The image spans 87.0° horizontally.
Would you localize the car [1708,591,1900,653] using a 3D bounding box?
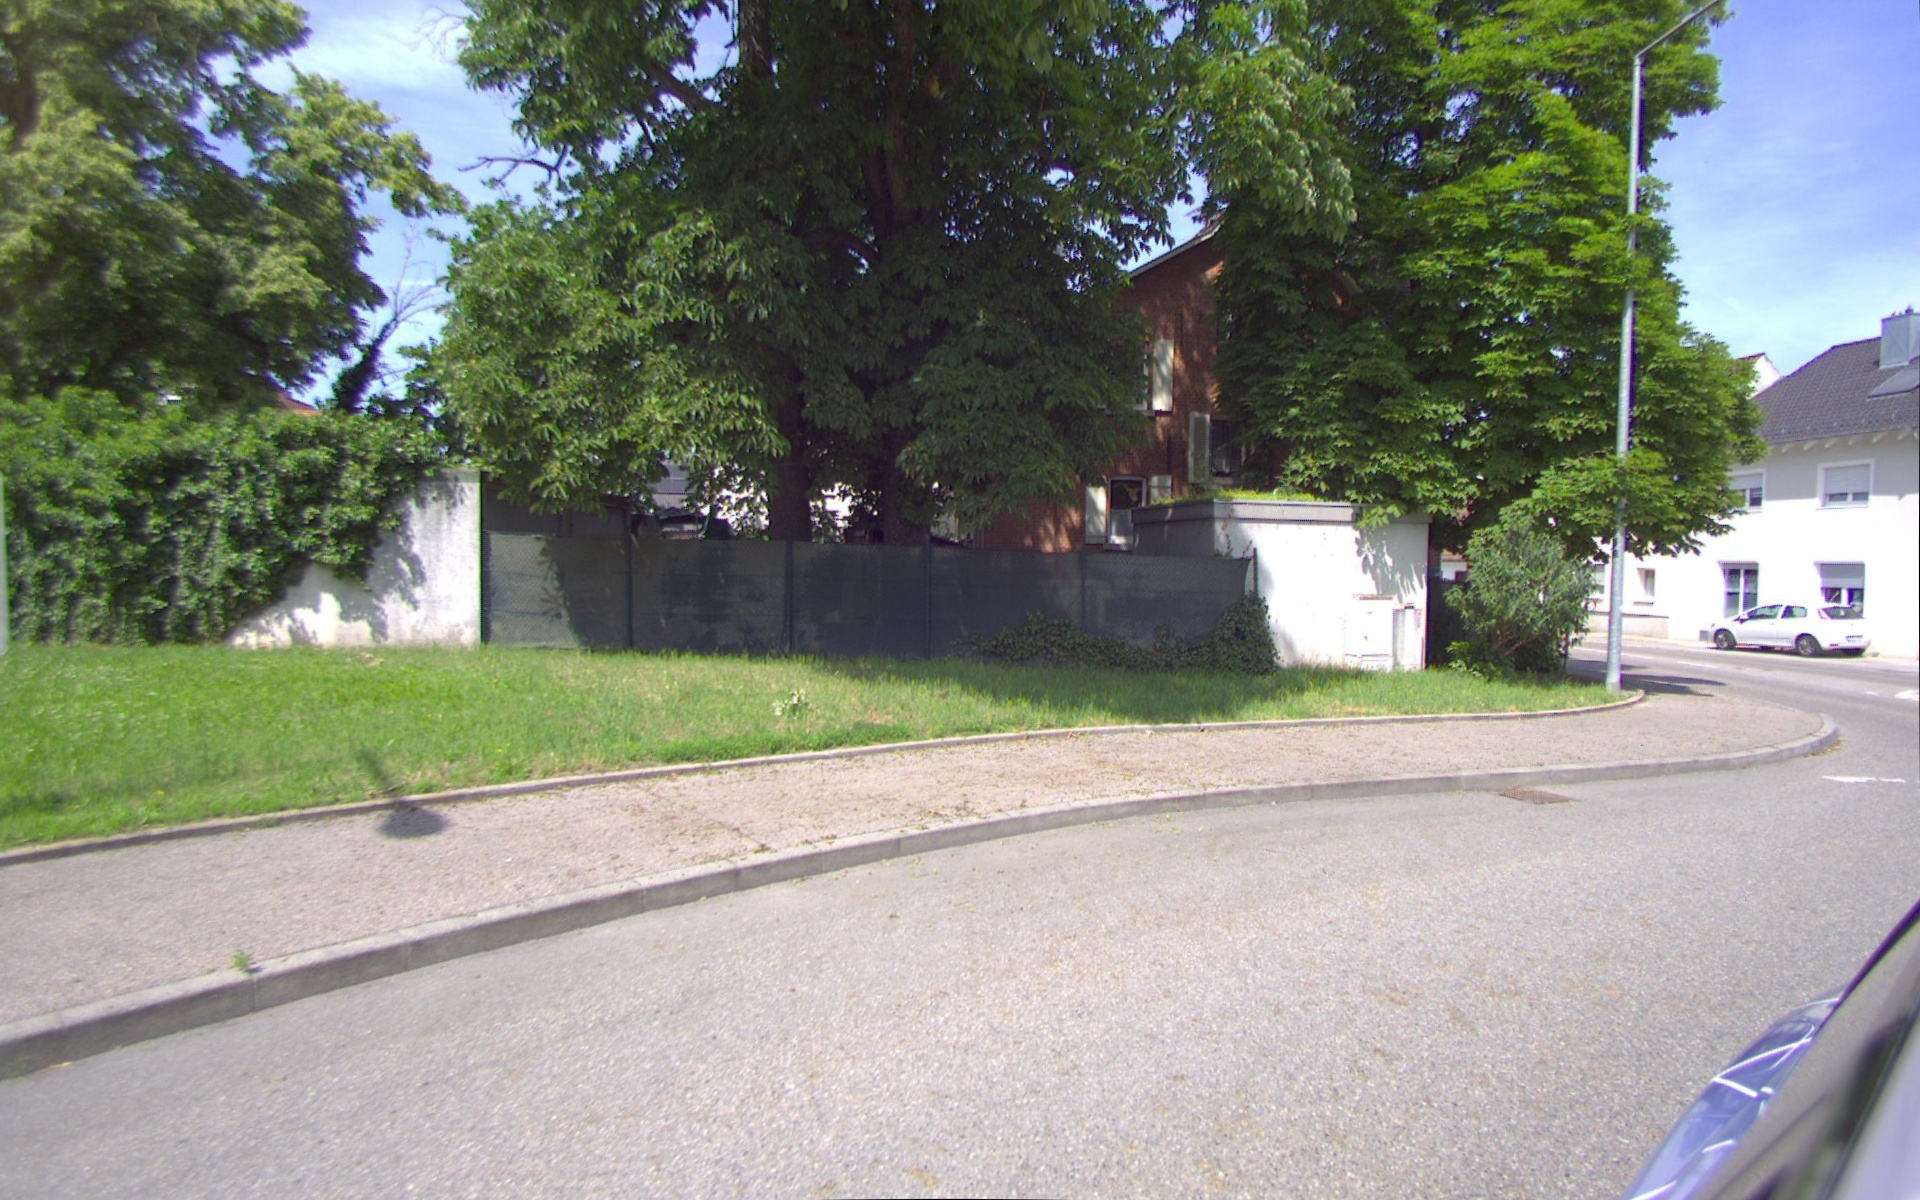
[{"bbox_3d":[23.889,0.565,28.863,1.789,1.521,4.007,-1,2,-9],"label":"car"}]
